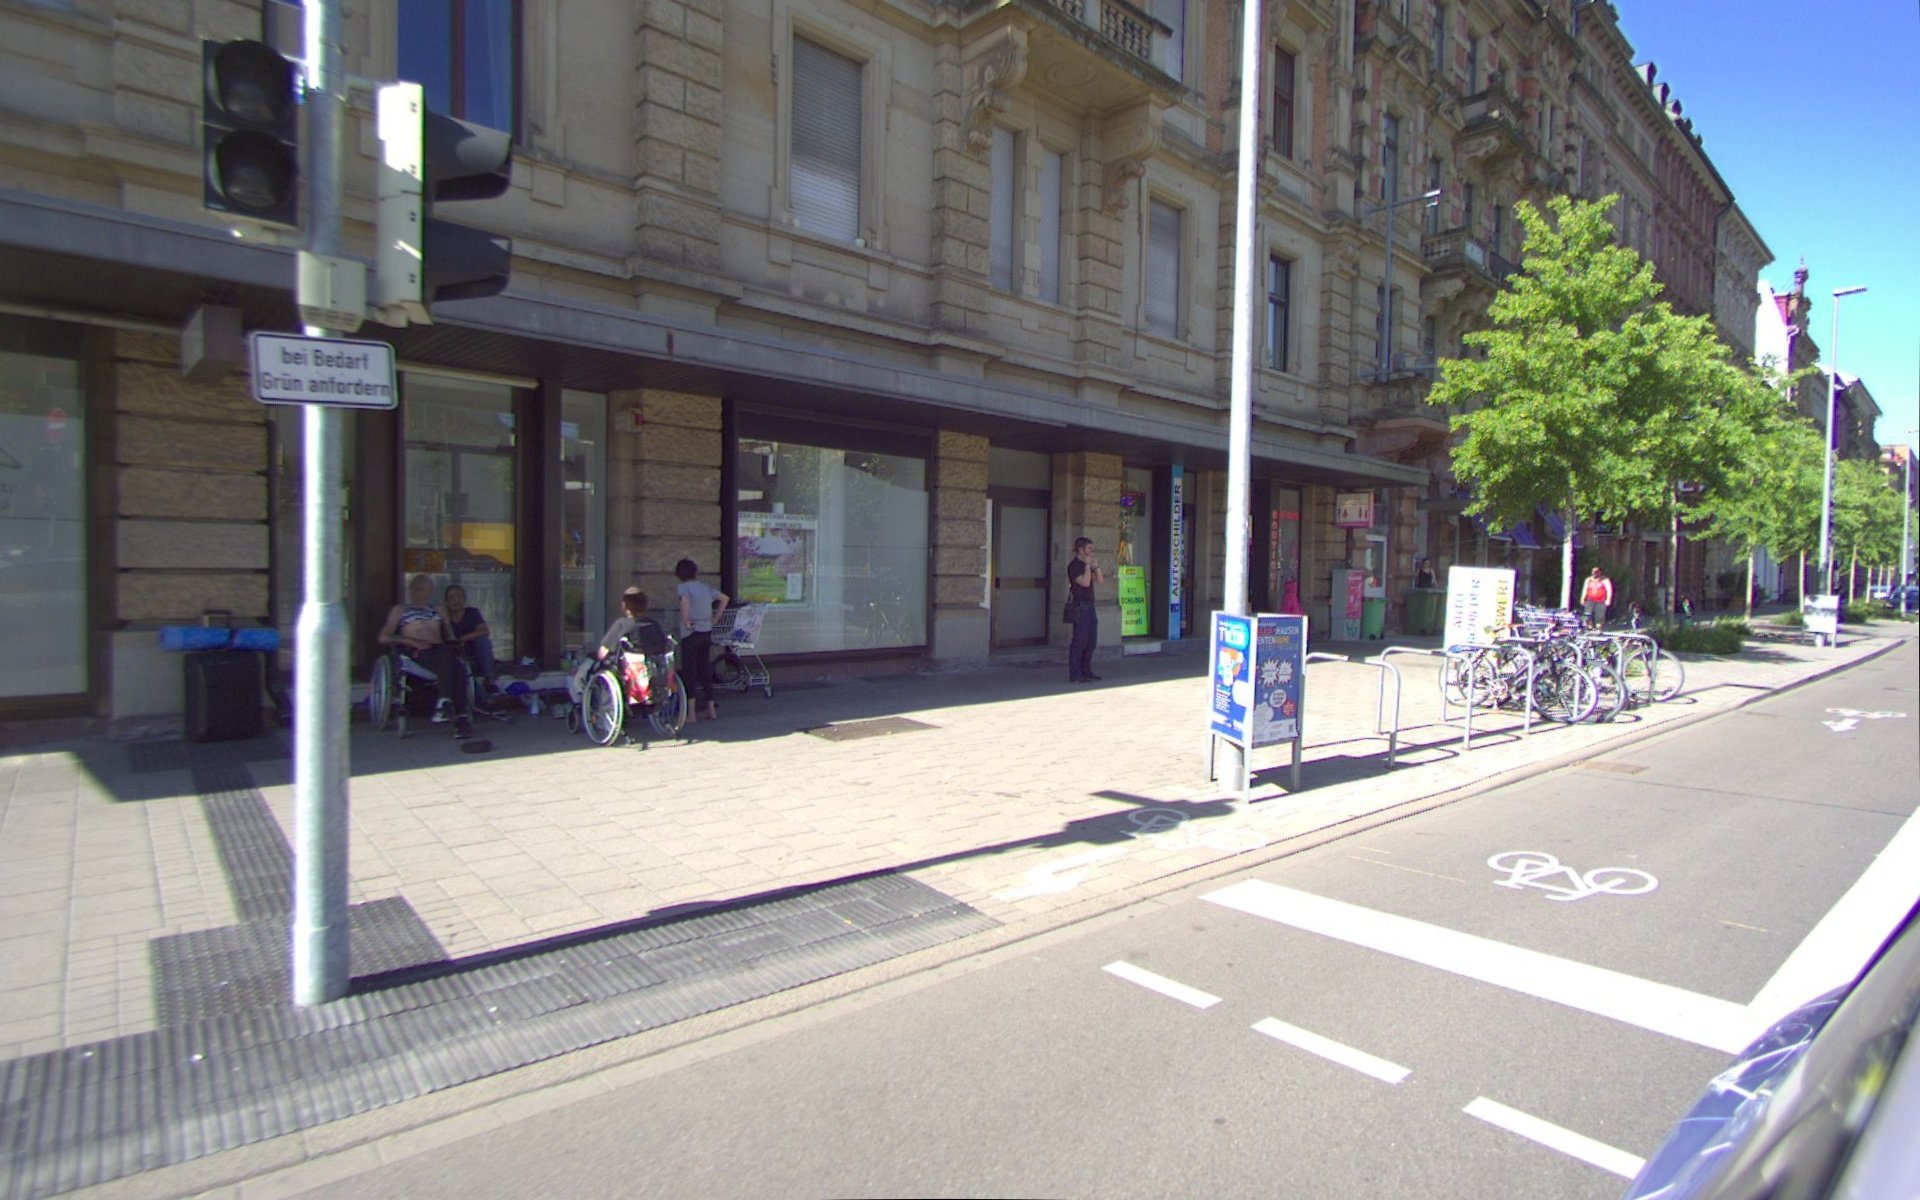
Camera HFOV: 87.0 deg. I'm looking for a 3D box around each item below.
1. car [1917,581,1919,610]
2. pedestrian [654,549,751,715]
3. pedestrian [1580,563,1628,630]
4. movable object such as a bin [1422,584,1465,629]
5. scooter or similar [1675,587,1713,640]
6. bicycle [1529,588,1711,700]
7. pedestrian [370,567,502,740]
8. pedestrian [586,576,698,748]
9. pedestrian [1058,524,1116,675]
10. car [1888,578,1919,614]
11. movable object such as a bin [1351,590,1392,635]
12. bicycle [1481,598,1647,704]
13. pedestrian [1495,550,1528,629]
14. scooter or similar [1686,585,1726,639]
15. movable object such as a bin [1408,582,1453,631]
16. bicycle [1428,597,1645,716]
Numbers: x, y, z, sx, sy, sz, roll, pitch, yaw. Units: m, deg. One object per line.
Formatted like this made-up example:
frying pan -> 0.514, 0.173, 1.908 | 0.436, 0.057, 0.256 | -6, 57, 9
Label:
car -> 50.209, -0.269, 51.648 | 3.685, 1.480, 1.667 | -2, 0, -42
pedestrian -> -2.312, 0.257, 9.079 | 0.637, 1.411, 0.574 | -1, 4, -43
pedestrian -> 16.019, -0.098, 25.178 | 0.795, 1.603, 0.753 | -1, 4, -42
movable object such as a bin -> 10.993, 0.139, 23.007 | 0.576, 0.986, 0.692 | -1, 1, -37
scooter or similar -> 16.977, 0.302, 23.407 | 0.283, 1.187, 0.639 | 0, 1, -20
bicycle -> 8.796, 0.542, 13.553 | 0.680, 1.266, 1.868 | -1, 5, -42
pedestrian -> -4.188, 0.374, 8.074 | 0.691, 1.232, 1.074 | -1, 4, -42
pedestrian -> -2.497, 0.448, 7.925 | 0.635, 1.232, 0.719 | -1, 4, -36
pedestrian -> 1.571, -0.012, 12.538 | 0.491, 1.824, 0.512 | 0, 1, -34
car -> 44.908, -0.221, 47.485 | 3.685, 1.603, 1.667 | -2, 0, -42
movable object such as a bin -> 8.564, 0.253, 21.081 | 0.467, 0.876, 0.606 | -1, 4, -37
bicycle -> 7.529, 0.601, 12.661 | 1.661, 1.123, 0.594 | 5, 5, 41
pedestrian -> 13.324, -0.253, 24.437 | 0.491, 1.873, 0.512 | 0, 1, -34
scooter or similar -> 17.462, 0.271, 23.691 | 0.320, 1.235, 0.676 | 0, 1, -20
movable object such as a bin -> 10.508, 0.137, 22.604 | 0.576, 1.025, 0.693 | -1, 4, -37
bicycle -> 6.559, 0.593, 11.624 | 0.593, 1.133, 2.053 | -1, 4, -42
